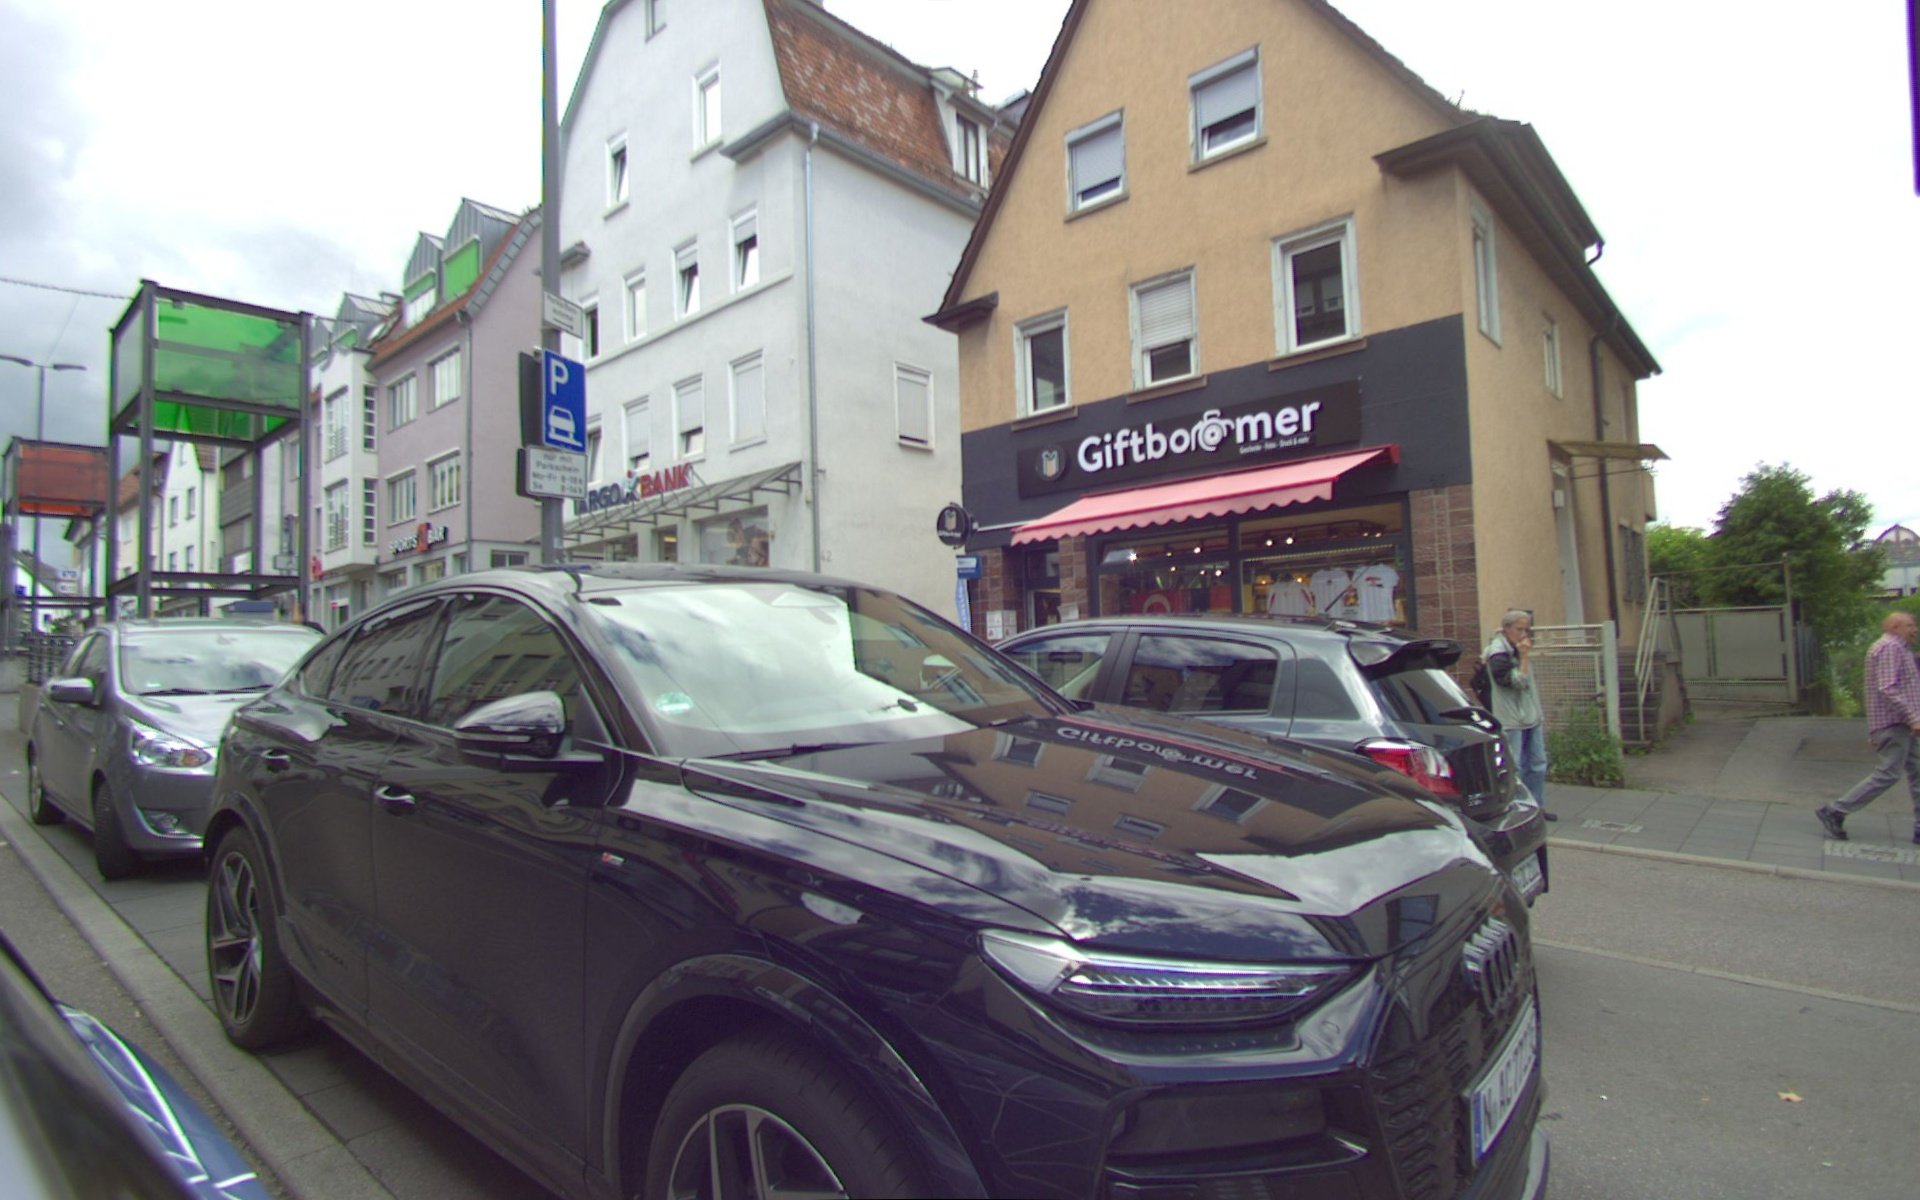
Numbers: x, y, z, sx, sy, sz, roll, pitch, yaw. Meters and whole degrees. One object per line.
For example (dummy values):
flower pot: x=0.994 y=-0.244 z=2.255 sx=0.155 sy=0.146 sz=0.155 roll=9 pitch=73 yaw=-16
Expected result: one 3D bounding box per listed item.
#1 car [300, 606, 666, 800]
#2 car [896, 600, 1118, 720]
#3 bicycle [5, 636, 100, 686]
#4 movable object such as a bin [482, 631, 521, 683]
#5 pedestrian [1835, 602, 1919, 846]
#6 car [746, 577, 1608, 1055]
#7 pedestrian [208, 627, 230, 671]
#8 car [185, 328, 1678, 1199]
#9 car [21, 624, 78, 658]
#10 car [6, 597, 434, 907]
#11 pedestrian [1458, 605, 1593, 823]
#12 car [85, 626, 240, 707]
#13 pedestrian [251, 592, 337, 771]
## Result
car: x=-4.907 y=0.888 z=10.157 sx=4.190 sy=1.555 sz=1.721 roll=-1 pitch=-3 yaw=40
car: x=0.958 y=1.007 z=18.642 sx=1.883 sy=1.887 sz=4.026 roll=-2 pitch=-1 yaw=43
bicycle: x=-23.573 y=1.566 z=26.308 sx=0.459 sy=1.232 sz=1.760 roll=-1 pitch=-3 yaw=40
movable object such as a bin: x=-12.445 y=1.532 z=27.452 sx=0.807 sy=1.387 sz=0.682 roll=-2 pitch=-2 yaw=41
pedestrian: x=6.930 y=0.876 z=7.320 sx=0.632 sy=1.702 sz=0.828 roll=3 pitch=-3 yaw=-44
car: x=0.857 y=0.767 z=5.103 sx=3.881 sy=1.487 sz=1.721 roll=-1 pitch=-5 yaw=40
pedestrian: x=-29.347 y=1.937 z=40.064 sx=0.513 sy=1.729 sz=0.584 roll=-1 pitch=-1 yaw=41
car: x=-0.603 y=0.621 z=3.032 sx=4.312 sy=1.652 sz=1.936 roll=-1 pitch=-1 yaw=41
car: x=-45.760 y=2.028 z=50.850 sx=4.120 sy=1.583 sz=1.662 roll=-1 pitch=-1 yaw=41
car: x=-5.171 y=0.789 z=6.897 sx=3.669 sy=1.544 sz=1.603 roll=-1 pitch=-1 yaw=41
pedestrian: x=4.619 y=0.903 z=8.304 sx=0.635 sy=1.702 sz=0.667 roll=0 pitch=-3 yaw=-9
car: x=-16.085 y=1.279 z=20.353 sx=3.850 sy=1.486 sz=1.553 roll=-1 pitch=-3 yaw=38
pedestrian: x=-6.635 y=0.786 z=10.072 sx=0.901 sy=1.685 sz=0.527 roll=-3 pitch=-3 yaw=44
